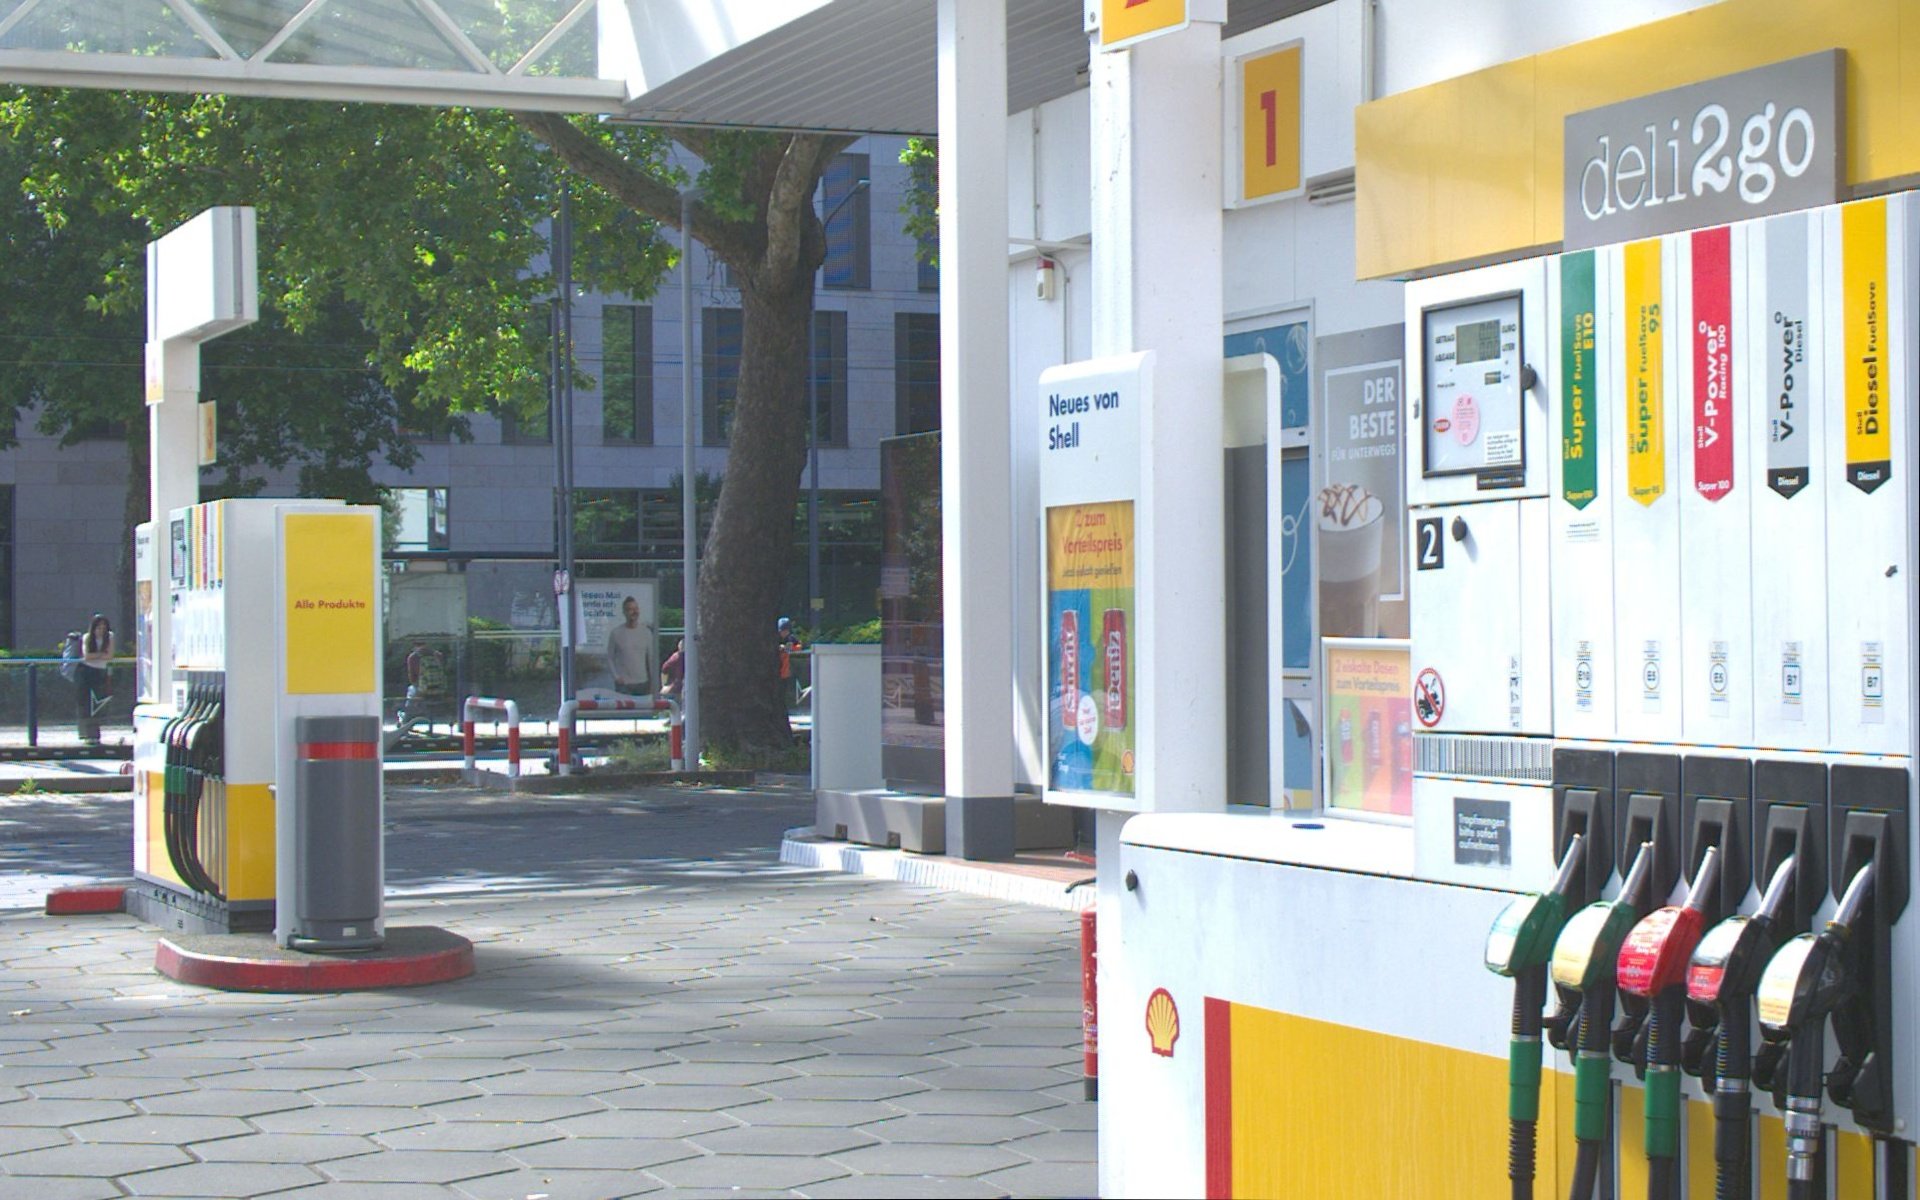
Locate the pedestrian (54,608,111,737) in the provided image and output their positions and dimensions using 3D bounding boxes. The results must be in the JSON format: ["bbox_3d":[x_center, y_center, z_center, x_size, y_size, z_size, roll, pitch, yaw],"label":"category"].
[{"bbox_3d":[-11.017,0.898,43.158,0.584,1.586,0.670,0,1,-23],"label":"pedestrian"}]

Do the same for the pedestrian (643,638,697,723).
[{"bbox_3d":[-3.917,1.086,46.441,0.628,1.134,0.524,0,0,-16],"label":"pedestrian"}]

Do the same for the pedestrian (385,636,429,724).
[{"bbox_3d":[-7.234,1.041,44.983,0.499,1.134,0.524,0,0,-16],"label":"pedestrian"}]
